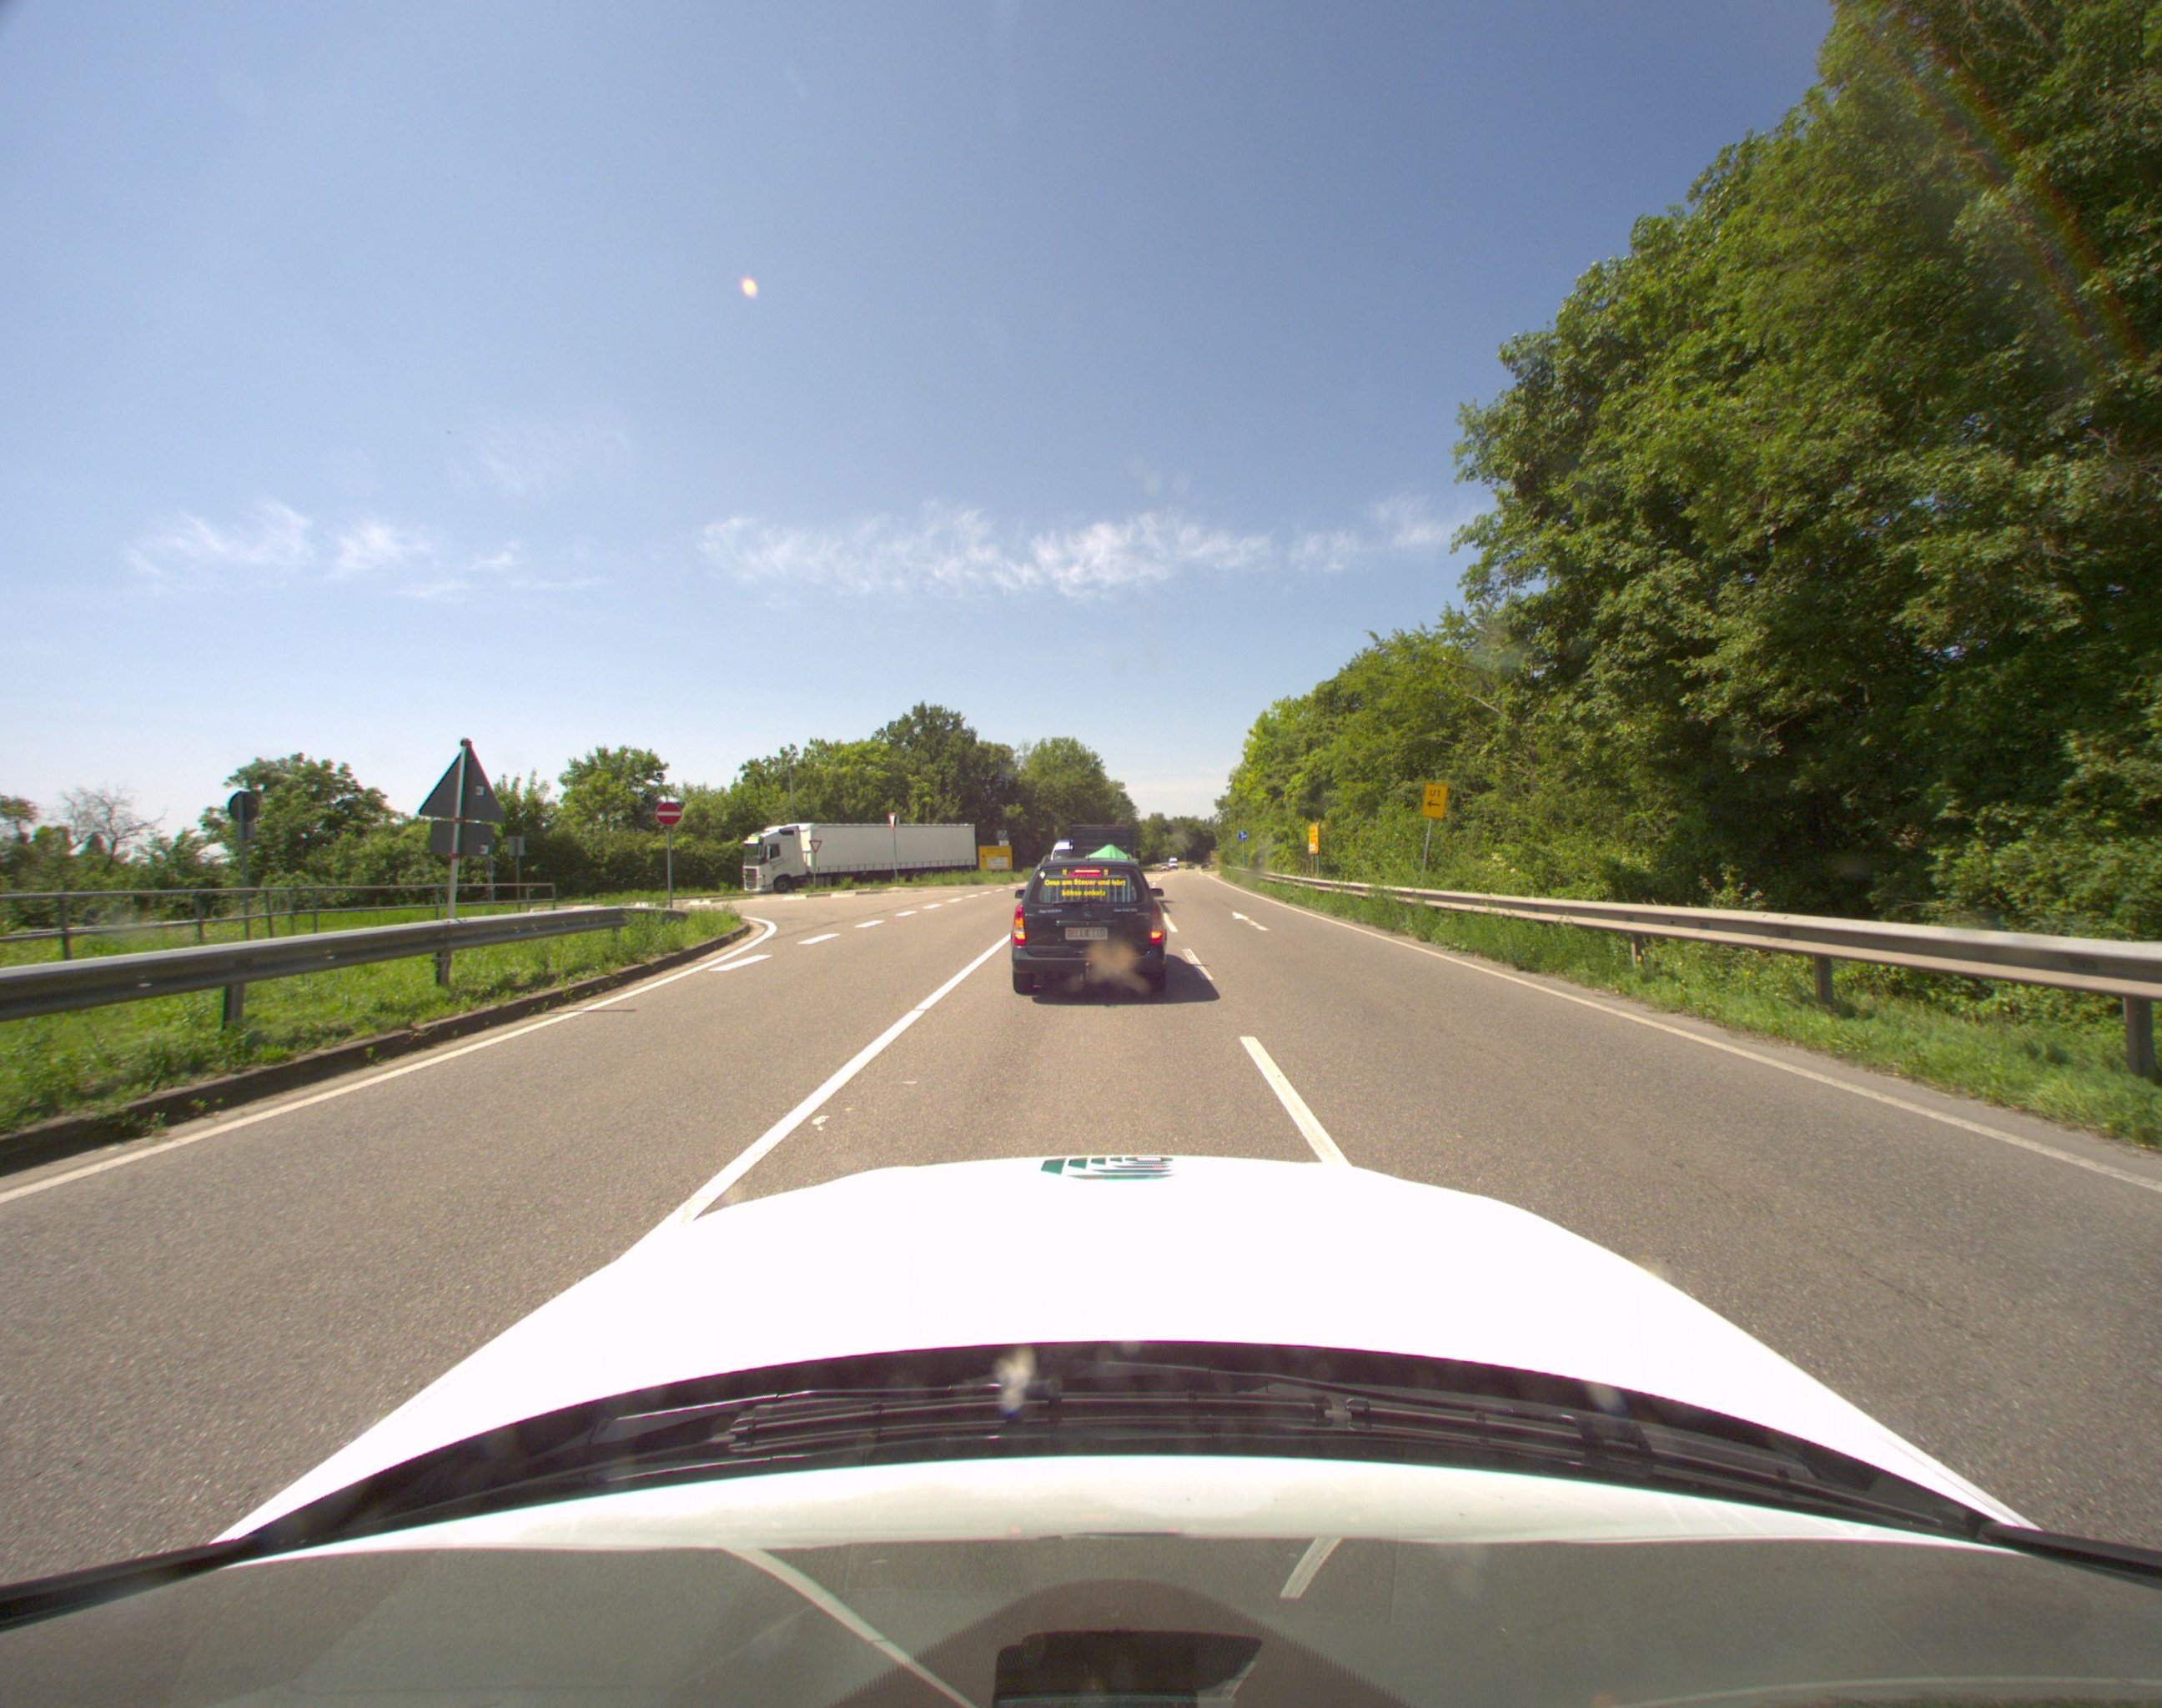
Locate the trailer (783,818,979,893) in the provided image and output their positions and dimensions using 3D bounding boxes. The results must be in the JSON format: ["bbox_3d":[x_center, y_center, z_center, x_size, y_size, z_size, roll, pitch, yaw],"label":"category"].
[{"bbox_3d":[-12.483,-0.029,53.157,2.960,4.275,13.880,0,1,35],"label":"trailer"}]

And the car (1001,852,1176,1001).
[{"bbox_3d":[0.166,0.711,9.932,1.713,1.457,3.800,0,0,3],"label":"car"}]

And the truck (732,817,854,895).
[{"bbox_3d":[-16.739,0.064,47.583,2.961,4.275,5.964,0,1,42],"label":"truck"}]

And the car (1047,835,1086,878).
[{"bbox_3d":[-0.780,0.145,47.316,1.983,2.368,5.184,0,0,2],"label":"car"}]

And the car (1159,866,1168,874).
[{"bbox_3d":[15.956,3.031,157.254,1.636,1.419,3.771,0,-1,5],"label":"car"}]

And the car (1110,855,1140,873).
[{"bbox_3d":[4.923,1.105,90.617,1.993,1.923,5.219,-1,0,19],"label":"car"}]

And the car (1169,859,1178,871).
[{"bbox_3d":[21.215,2.550,187.320,2.094,2.850,6.022,0,-1,6],"label":"car"}]

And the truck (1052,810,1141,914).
[{"bbox_3d":[0.622,0.208,23.638,2.129,2.565,6.648,-1,0,5],"label":"truck"}]
